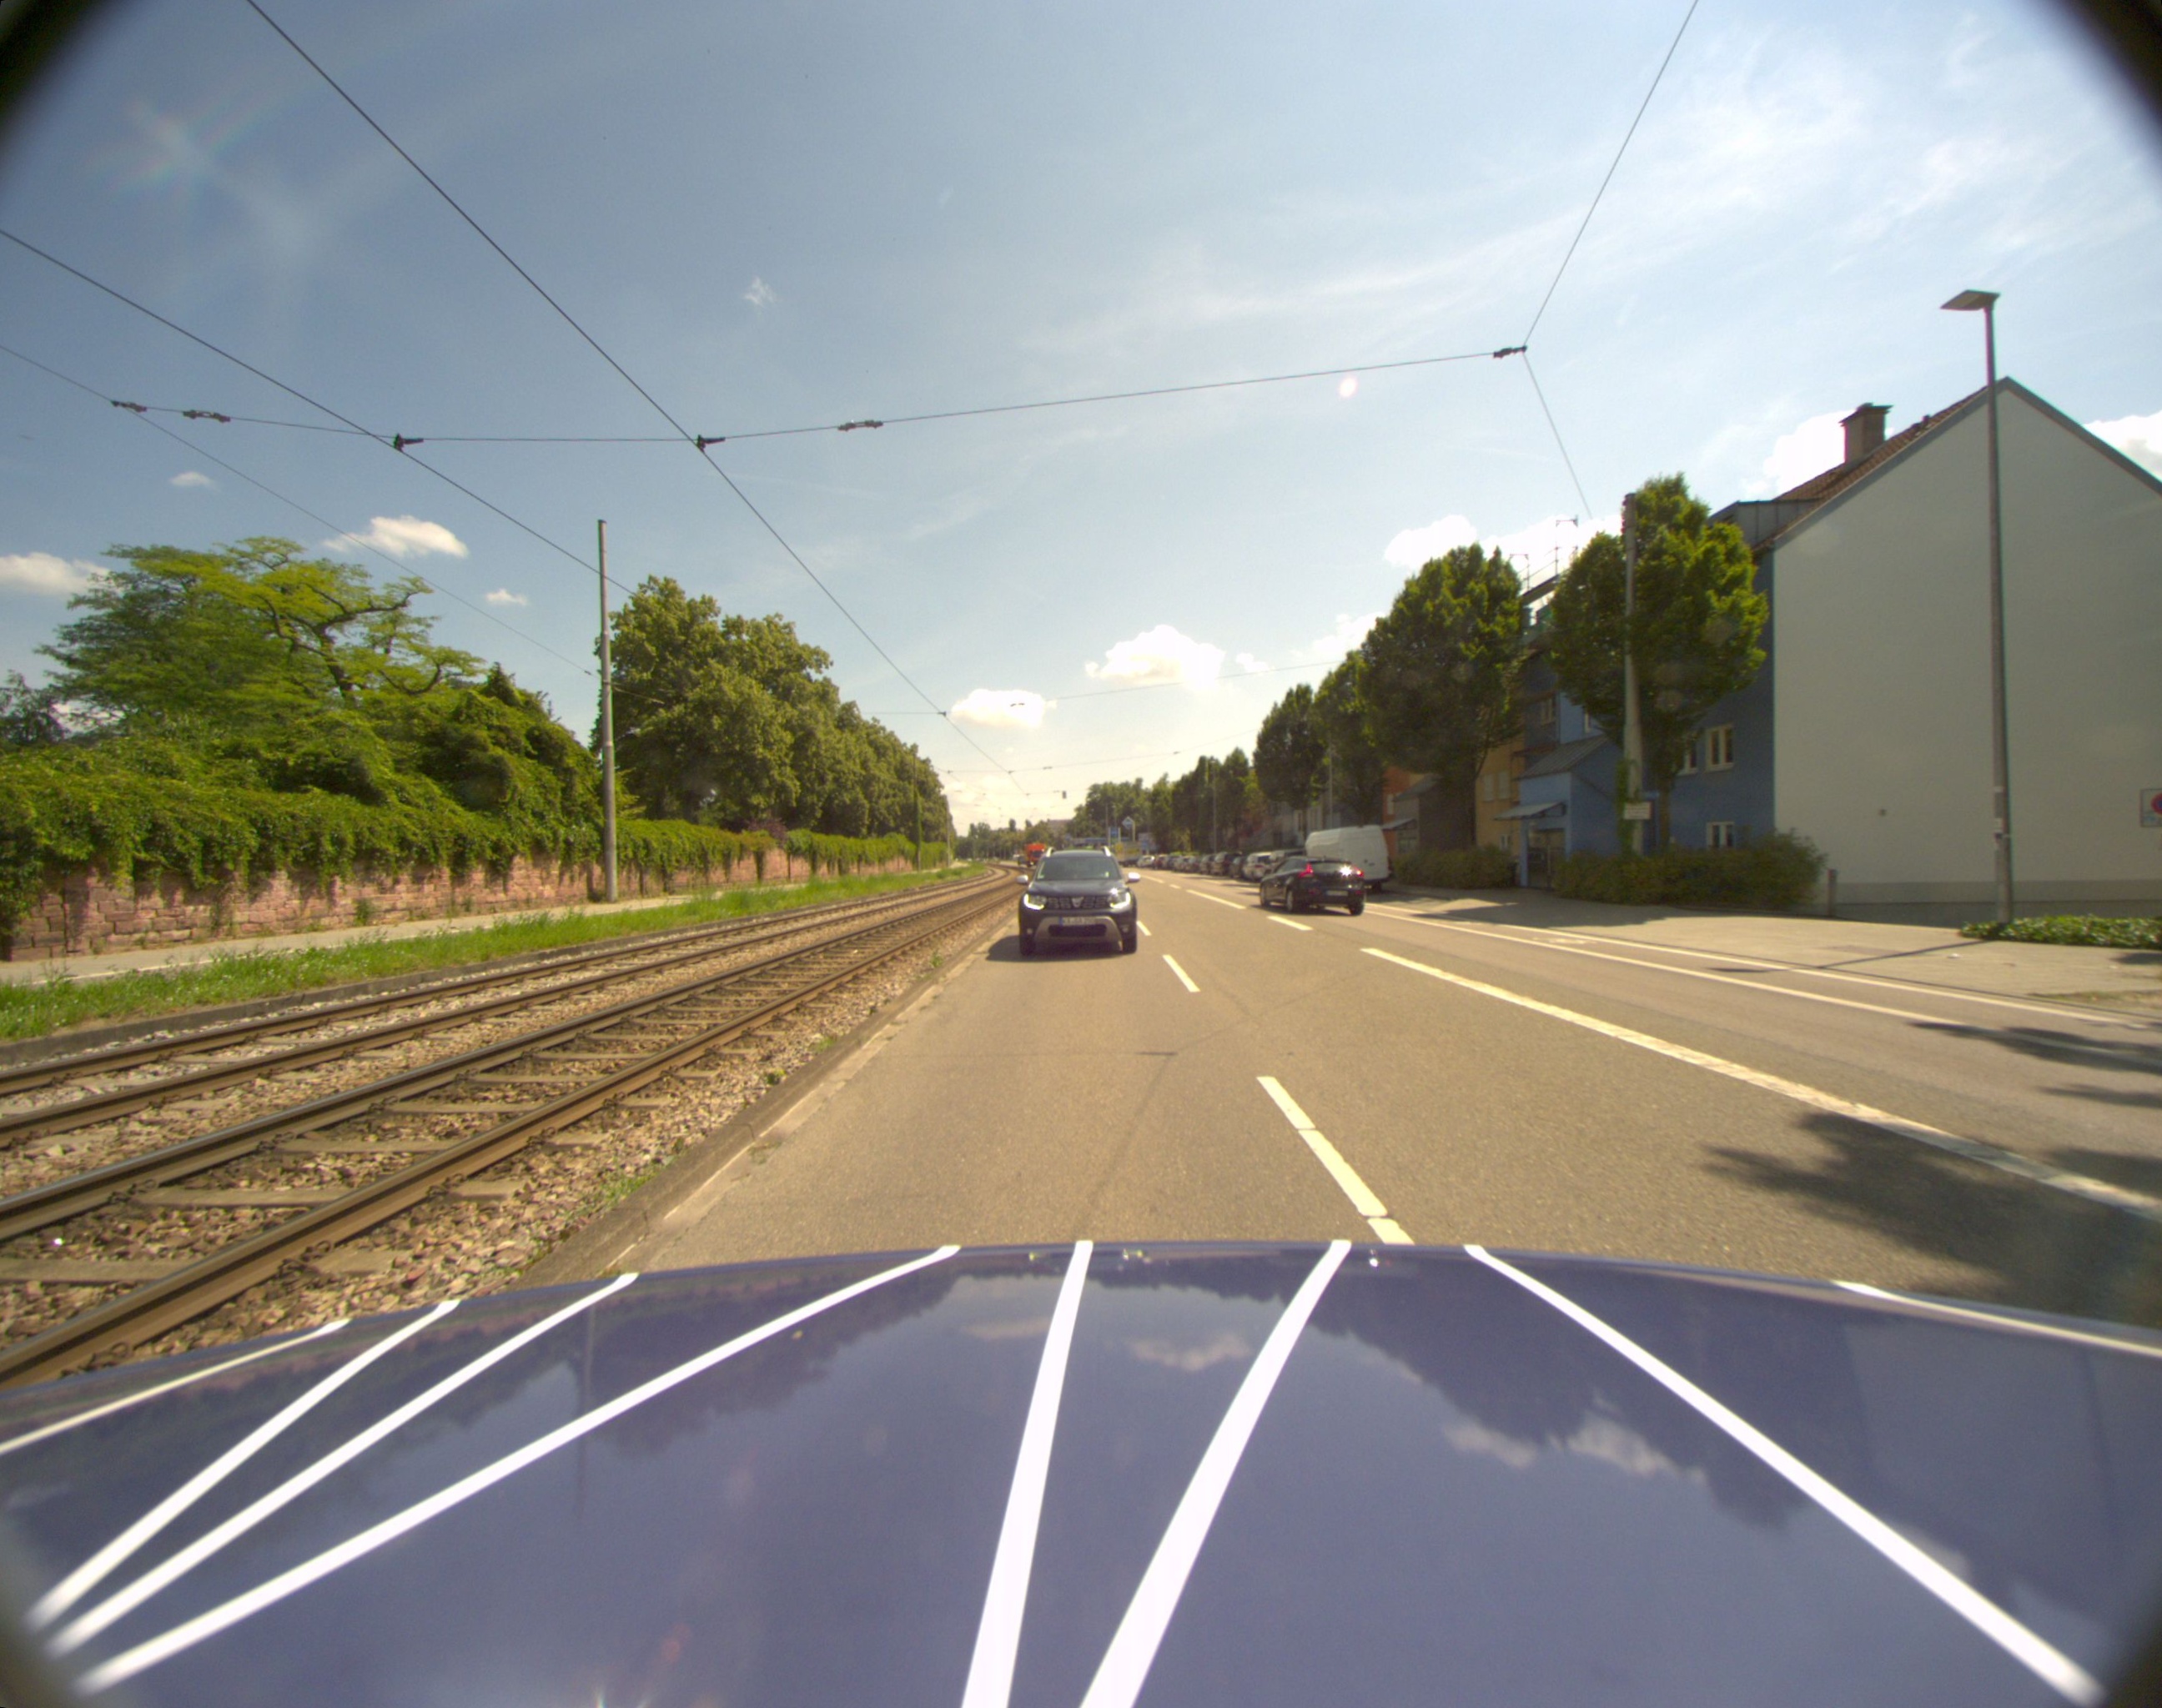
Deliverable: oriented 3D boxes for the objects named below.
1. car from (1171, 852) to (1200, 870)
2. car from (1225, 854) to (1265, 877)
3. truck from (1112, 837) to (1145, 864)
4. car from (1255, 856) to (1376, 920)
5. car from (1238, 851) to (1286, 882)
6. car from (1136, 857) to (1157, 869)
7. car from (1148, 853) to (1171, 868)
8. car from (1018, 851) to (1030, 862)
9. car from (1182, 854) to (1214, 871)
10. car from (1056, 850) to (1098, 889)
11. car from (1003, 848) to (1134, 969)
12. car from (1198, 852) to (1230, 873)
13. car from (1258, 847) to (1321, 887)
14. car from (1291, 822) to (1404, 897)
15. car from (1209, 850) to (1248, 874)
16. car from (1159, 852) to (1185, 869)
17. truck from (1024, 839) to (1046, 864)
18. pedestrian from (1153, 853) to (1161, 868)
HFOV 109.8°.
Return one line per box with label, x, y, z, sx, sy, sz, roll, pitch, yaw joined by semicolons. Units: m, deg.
car;10.123;0.666;74.073;1.660;1.499;4.893;-4;1;-5
car;11.041;0.722;51.344;1.603;1.462;4.086;-1;0;-2
truck;6.496;-0.438;105.585;2.840;3.528;8.165;-3;0;-8
car;5.889;0.795;19.608;1.779;1.451;4.194;0;0;-1
car;10.928;0.696;46.225;1.721;1.742;4.903;-2;0;0
car;8.049;1.104;93.647;1.661;1.402;4.394;-1;0;-8
car;8.784;0.673;85.225;1.661;1.600;4.171;-1;0;-8
car;-11.085;0.404;147.660;2.000;2.002;3.996;-2;1;-9
car;10.419;0.738;68.137;1.746;1.438;4.962;-3;0;-4
car;-0.215;0.657;34.866;1.802;1.683;4.143;-1;0;-1
car;-0.031;0.774;13.230;1.801;1.652;4.789;-3;0;3
car;10.789;0.634;62.001;1.660;1.608;4.283;0;1;-2
car;11.022;0.655;40.518;1.811;1.884;5.362;-3;0;1
car;11.087;0.214;32.394;2.329;2.635;7.035;-5;0;1
car;10.905;0.572;56.625;1.756;1.706;4.887;-1;0;-2
car;9.515;0.648;79.630;1.660;1.600;4.685;-3;0;-5
truck;-7.137;-0.403;117.721;2.847;3.574;8.699;-2;1;-7
pedestrian;9.680;0.792;96.920;0.642;1.911;0.710;-1;0;35
